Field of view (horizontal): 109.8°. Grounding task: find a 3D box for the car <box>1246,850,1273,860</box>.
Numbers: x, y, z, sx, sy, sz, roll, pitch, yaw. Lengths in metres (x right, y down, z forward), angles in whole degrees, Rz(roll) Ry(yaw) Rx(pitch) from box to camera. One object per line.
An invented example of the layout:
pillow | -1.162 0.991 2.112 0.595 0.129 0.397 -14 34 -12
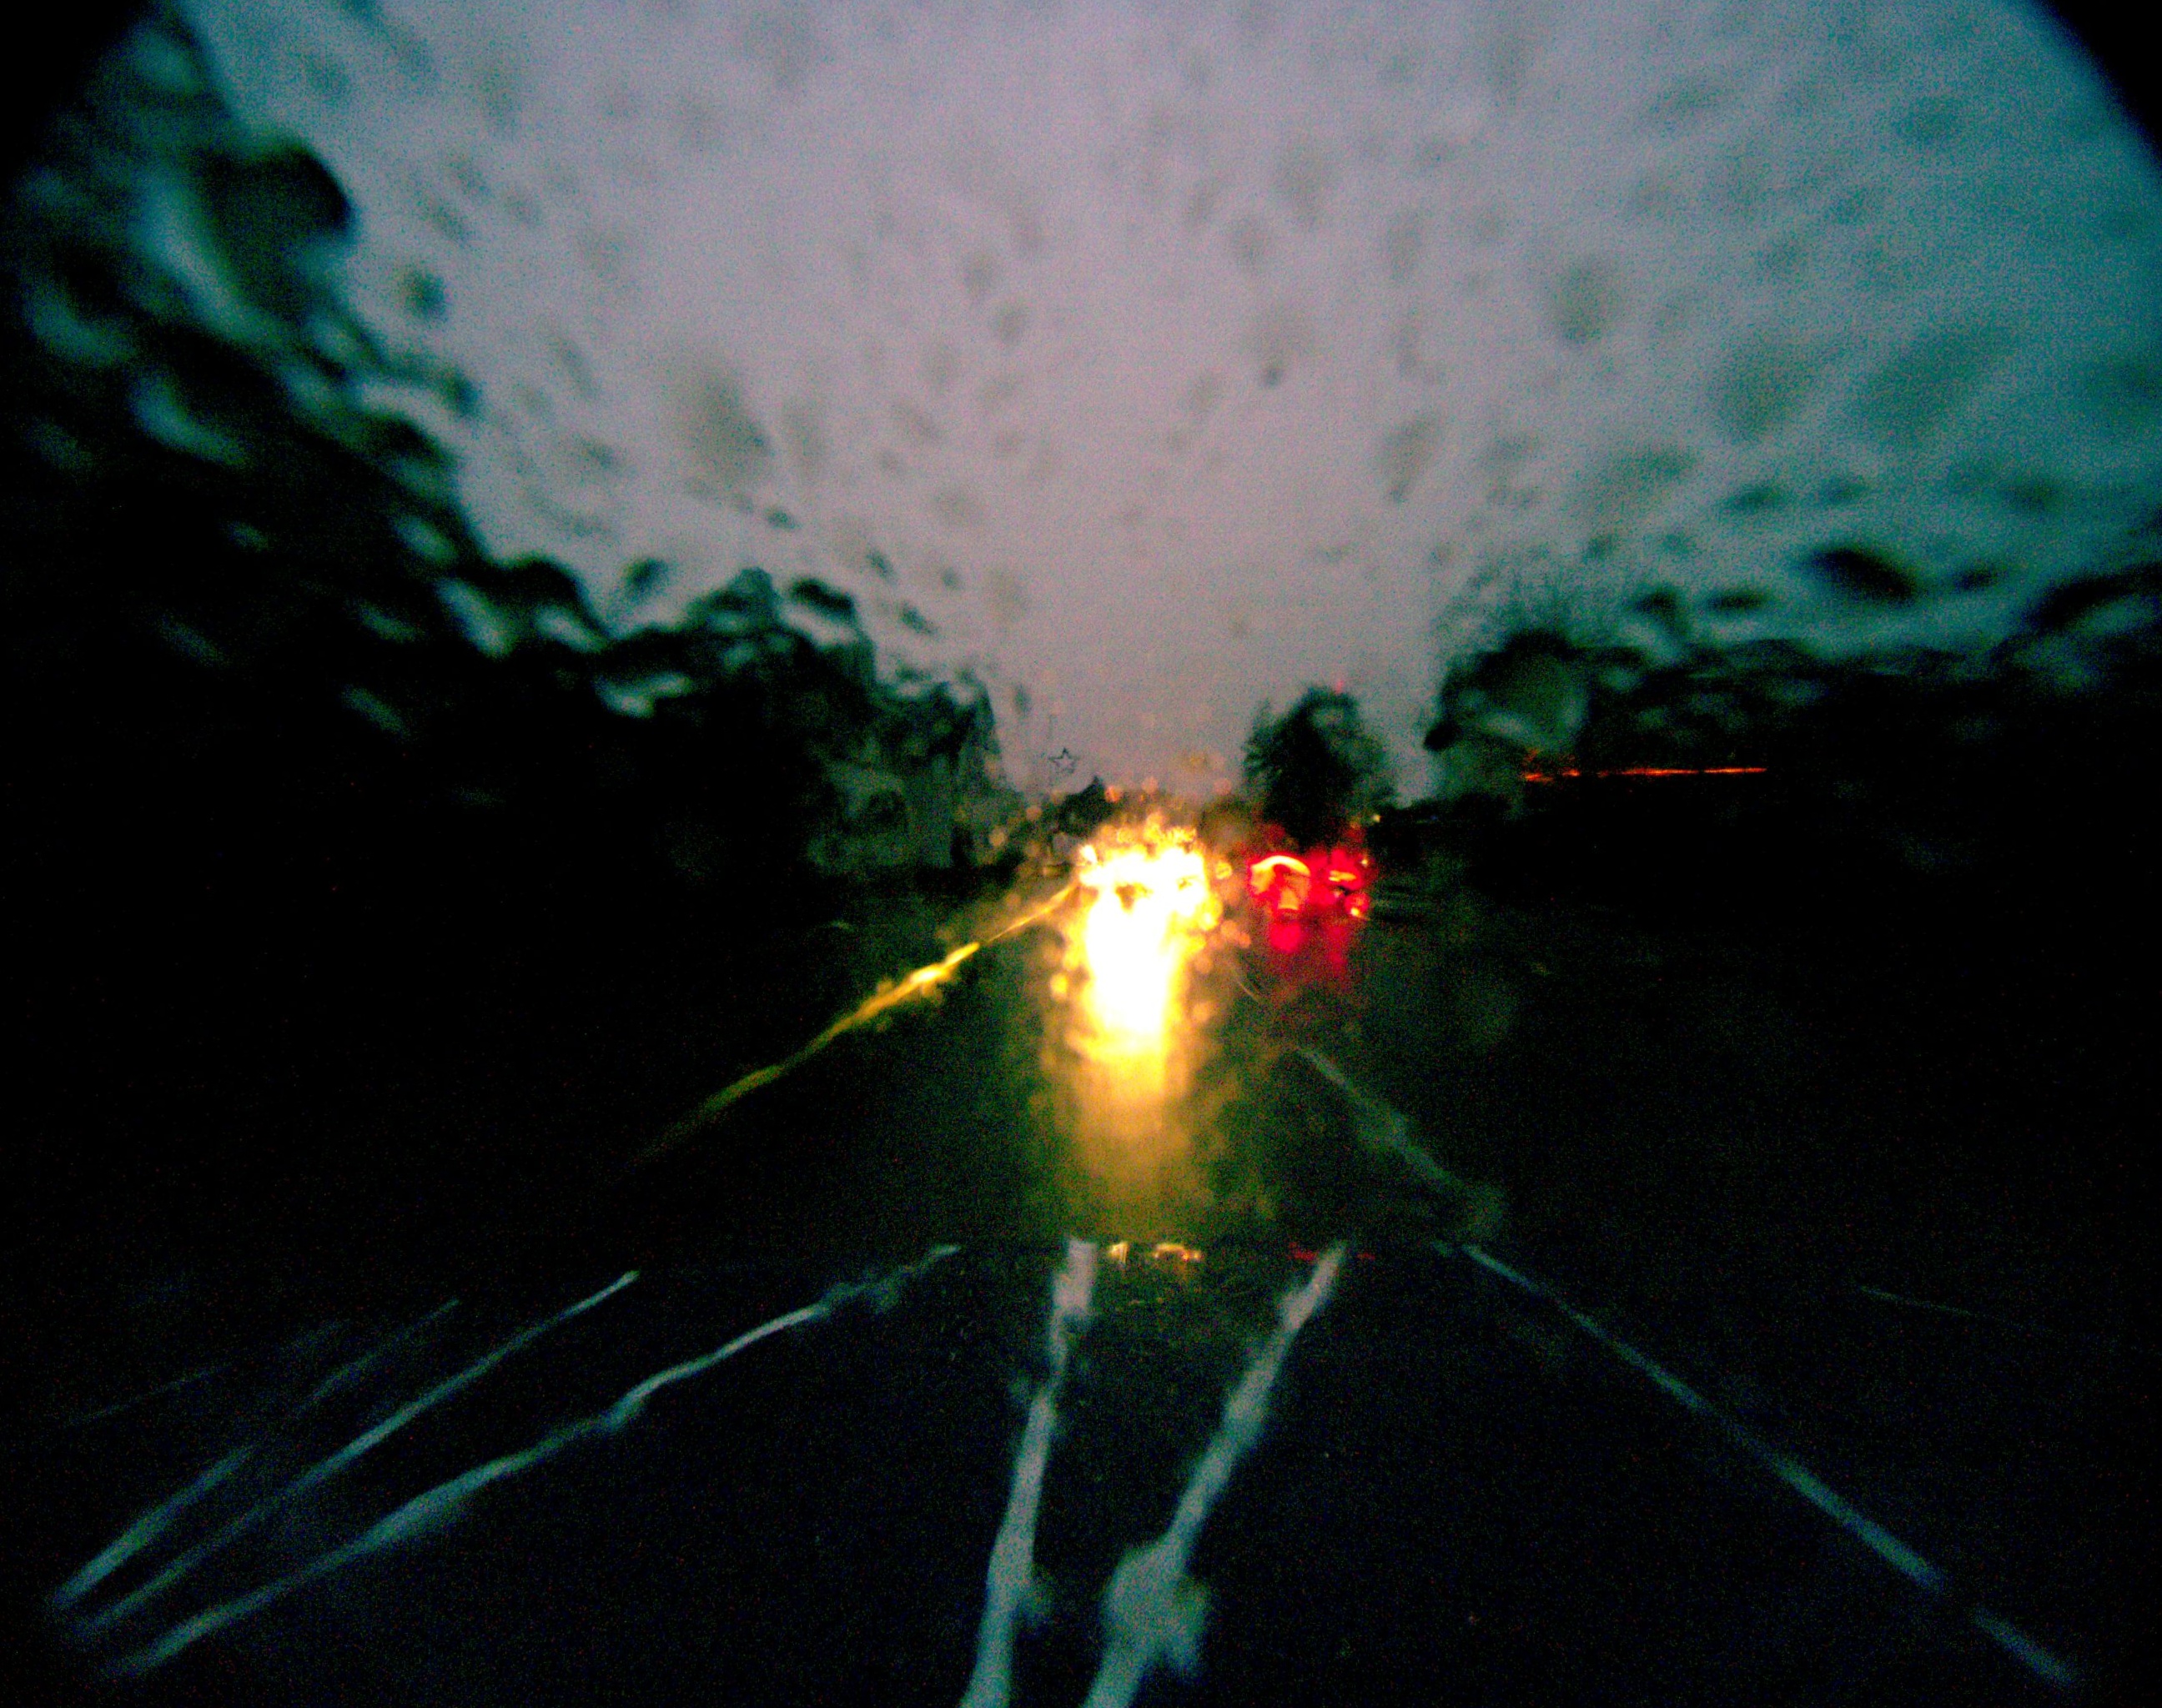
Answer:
car | 30.186 0.196 128.702 4.179 1.432 1.799 -2 -1 5

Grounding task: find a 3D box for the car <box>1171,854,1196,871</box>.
car | 9.214 0.736 67.978 1.997 1.464 4.003 -1 0 11

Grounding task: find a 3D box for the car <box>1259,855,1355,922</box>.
car | 5.866 0.820 20.173 1.826 1.545 4.002 1 0 8

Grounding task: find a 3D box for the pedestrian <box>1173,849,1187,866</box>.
pedestrian | 11.268 0.350 86.230 1.256 1.855 1.305 2 1 20

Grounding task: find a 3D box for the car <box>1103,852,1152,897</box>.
car | 1.874 0.751 30.277 1.775 1.632 4.423 -1 0 4

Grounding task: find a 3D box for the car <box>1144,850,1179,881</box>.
car | 4.909 0.675 46.109 1.897 1.689 4.242 -3 0 7
